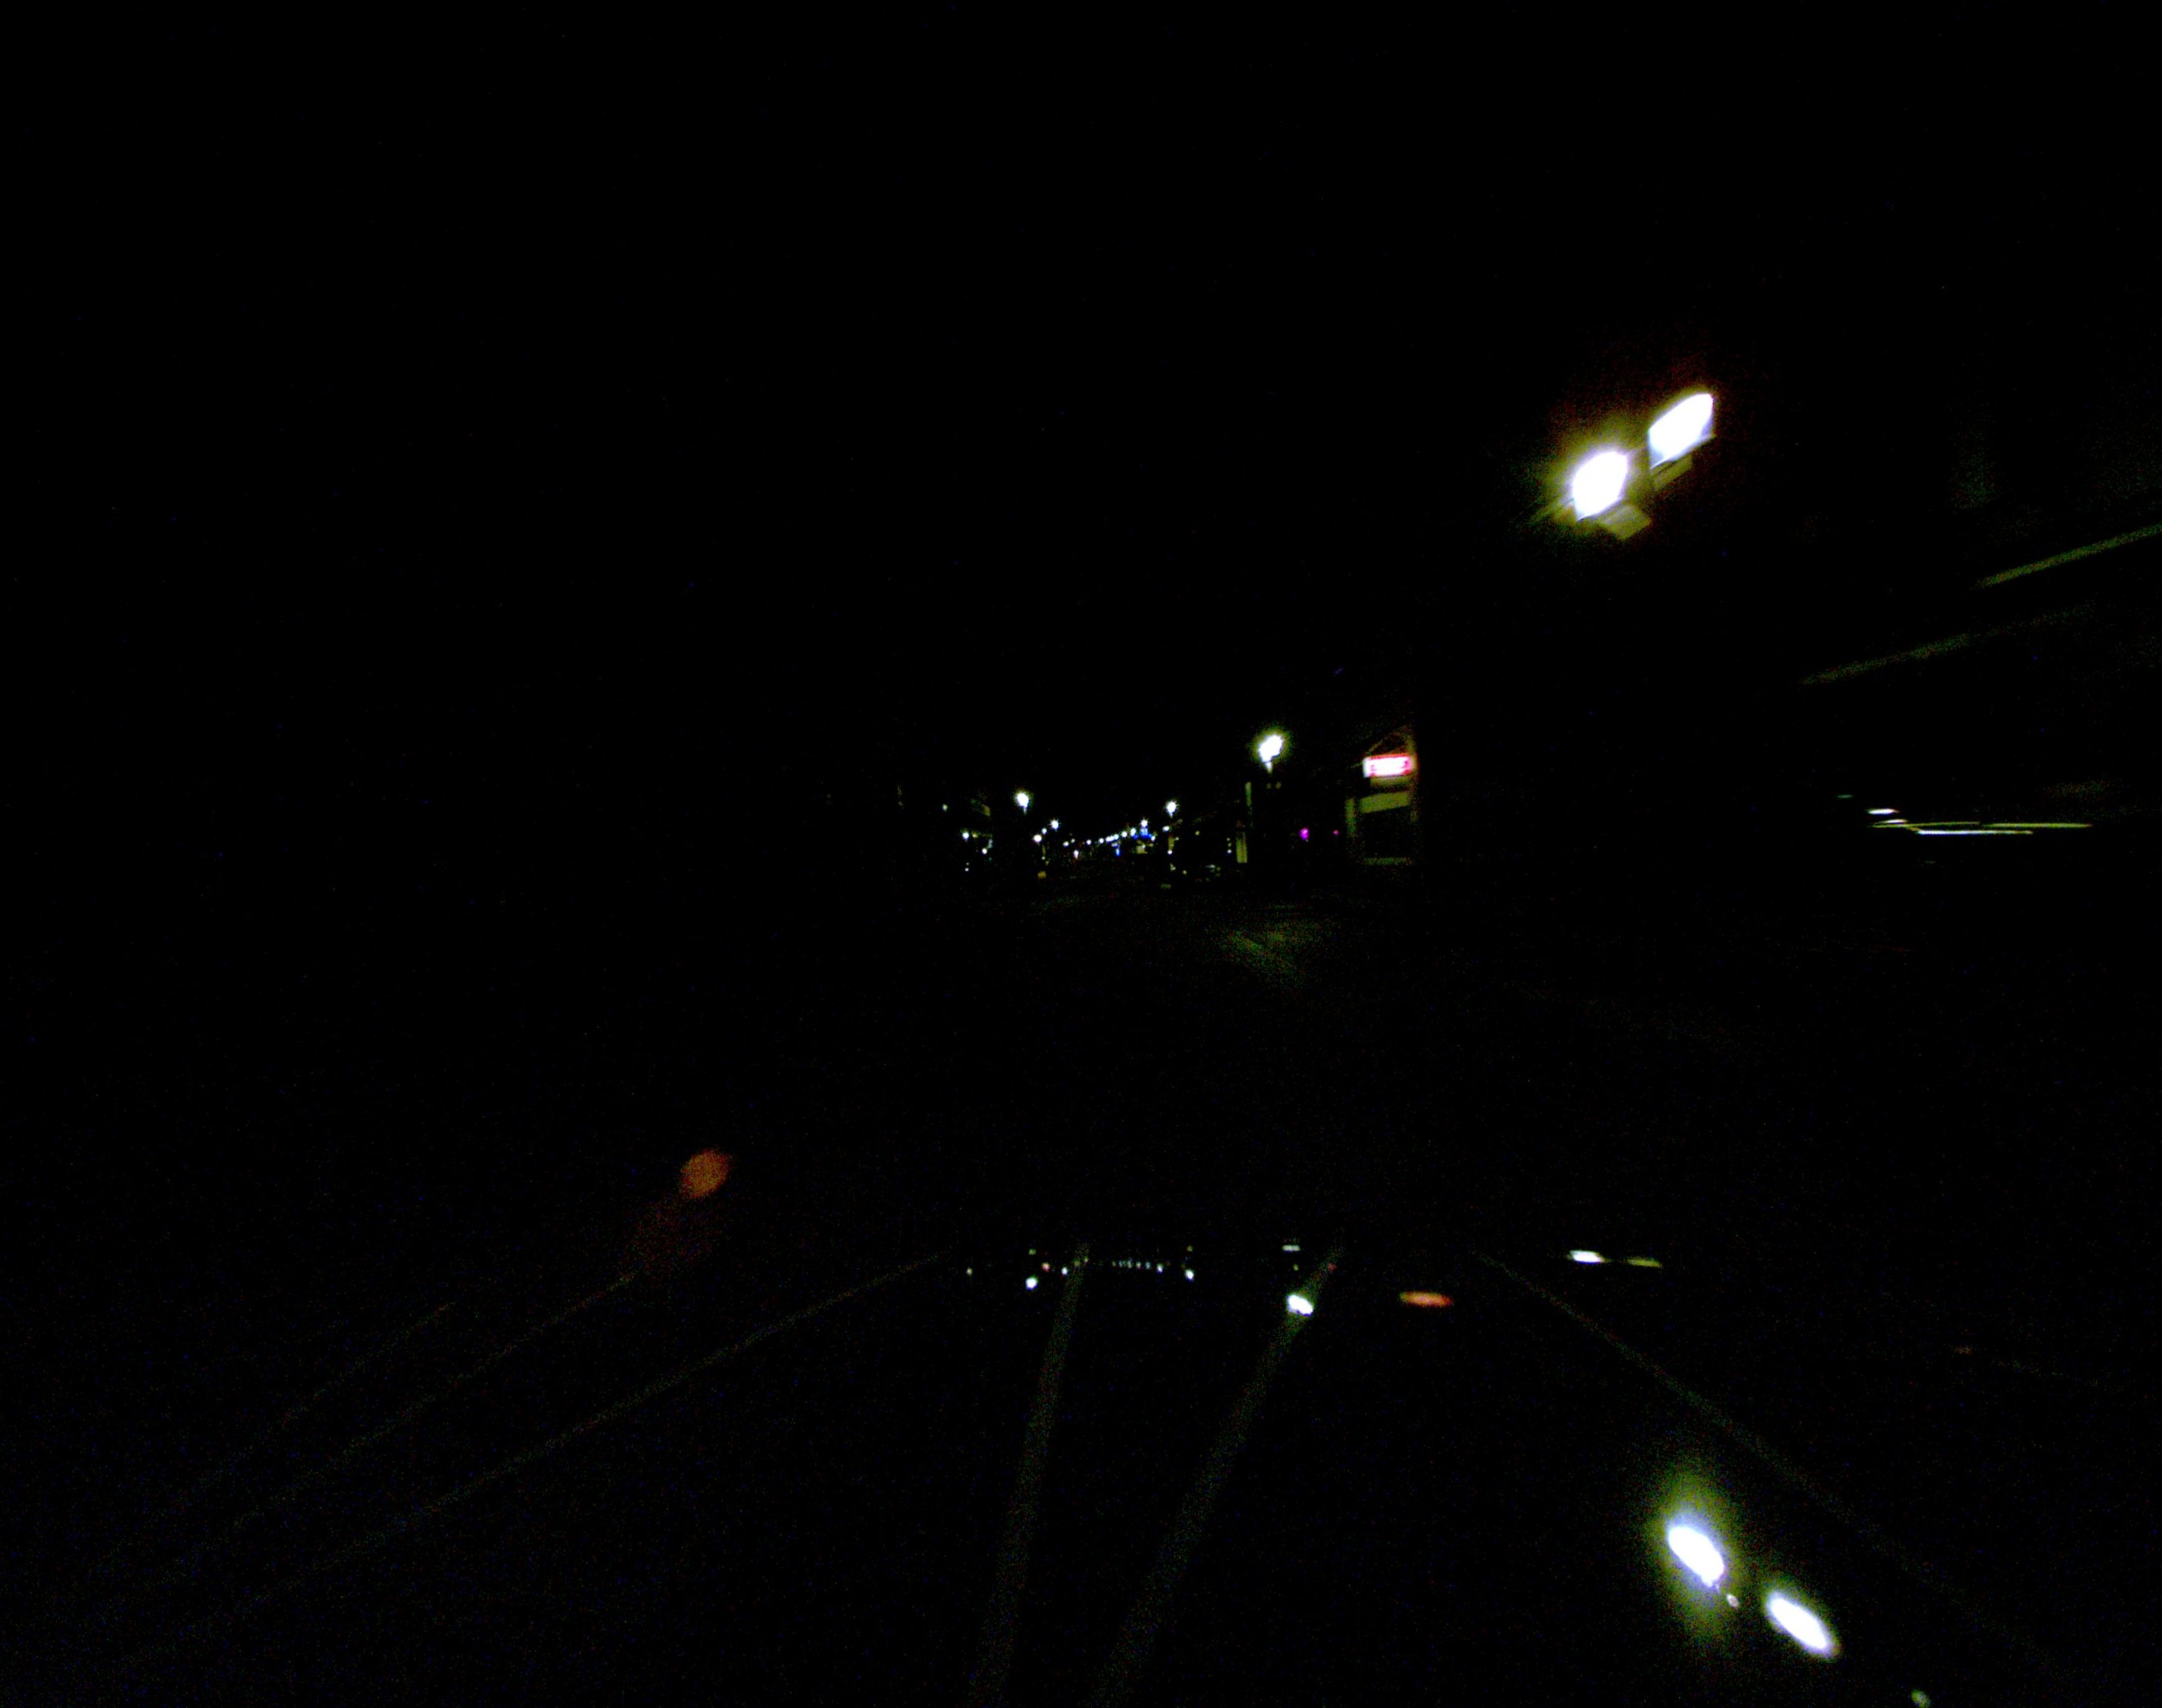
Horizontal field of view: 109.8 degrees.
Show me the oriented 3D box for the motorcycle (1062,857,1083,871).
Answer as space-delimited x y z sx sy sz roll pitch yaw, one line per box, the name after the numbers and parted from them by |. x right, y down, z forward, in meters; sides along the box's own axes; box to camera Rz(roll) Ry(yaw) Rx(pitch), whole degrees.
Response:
-0.992 1.128 85.278 2.266 1.383 0.662 -2 1 26 | motorcycle

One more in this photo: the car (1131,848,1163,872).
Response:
4.606 0.381 53.589 1.802 1.469 4.321 -4 1 0 | car

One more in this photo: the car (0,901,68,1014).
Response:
-17.450 1.596 10.791 3.861 1.579 1.662 -3 0 1 | car

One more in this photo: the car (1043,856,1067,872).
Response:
-2.266 0.874 68.148 1.664 1.369 4.104 -1 1 4 | car

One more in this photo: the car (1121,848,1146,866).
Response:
4.888 0.261 71.324 1.850 1.455 4.622 -5 0 -1 | car

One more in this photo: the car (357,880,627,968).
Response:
-12.440 1.444 16.253 4.316 1.629 1.901 -2 -1 2 | car

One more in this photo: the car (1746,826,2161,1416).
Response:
3.647 0.680 1.208 1.733 1.468 3.846 -4 0 0 | car

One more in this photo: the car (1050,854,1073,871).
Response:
-1.804 0.762 72.848 1.757 1.455 4.467 -1 1 4 | car

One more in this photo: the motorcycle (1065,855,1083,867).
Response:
-0.828 0.830 88.358 2.165 1.290 0.516 -2 1 31 | motorcycle

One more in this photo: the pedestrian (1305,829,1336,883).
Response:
7.969 0.053 25.294 0.622 1.735 1.022 -4 1 1 | pedestrian

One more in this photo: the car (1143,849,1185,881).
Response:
4.211 0.521 39.264 1.721 1.404 4.385 -5 0 2 | car

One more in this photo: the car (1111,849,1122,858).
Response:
6.595 -0.073 141.584 1.655 1.417 4.014 -6 0 -1 | car

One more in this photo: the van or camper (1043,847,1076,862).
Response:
-4.292 0.096 149.372 6.060 2.518 2.158 -4 0 -30 | van or camper

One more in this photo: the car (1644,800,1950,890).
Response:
14.537 -0.135 15.624 4.452 1.392 1.780 -5 -2 1 | car

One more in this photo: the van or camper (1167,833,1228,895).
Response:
4.124 0.311 27.507 1.849 1.930 5.155 -4 0 6 | van or camper
